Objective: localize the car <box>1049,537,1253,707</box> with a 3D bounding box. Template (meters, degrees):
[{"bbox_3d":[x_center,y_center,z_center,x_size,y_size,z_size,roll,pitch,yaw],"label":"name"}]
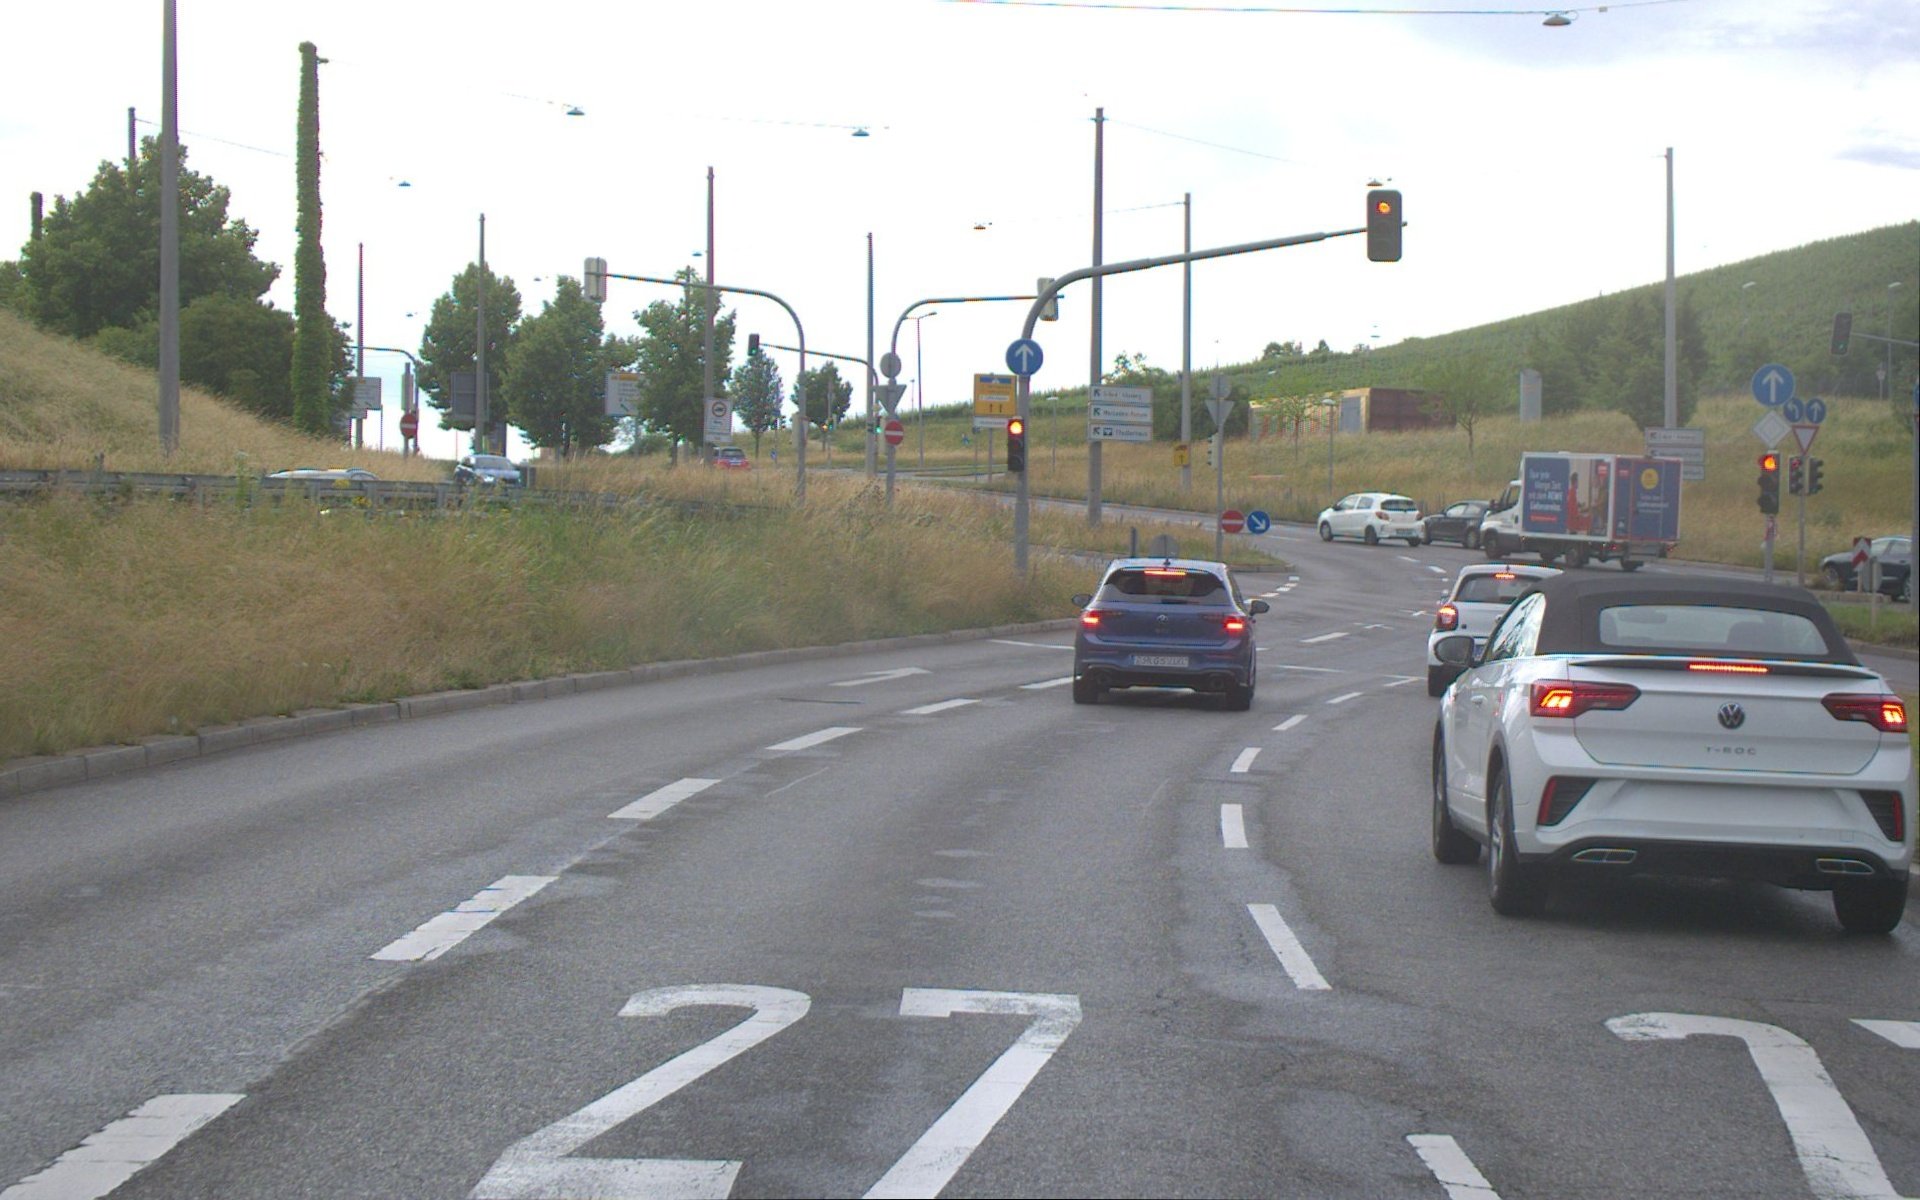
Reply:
[{"bbox_3d":[1.968,0.196,34.999,1.926,1.594,4.061,1,0,4],"label":"car"}]

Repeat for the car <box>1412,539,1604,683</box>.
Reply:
[{"bbox_3d":[6.463,0.098,40.265,1.776,1.514,3.722,3,2,15],"label":"car"}]

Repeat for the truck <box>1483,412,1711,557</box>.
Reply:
[{"bbox_3d":[16.619,-3.095,90.136,2.847,3.514,6.237,-1,5,-23],"label":"truck"}]

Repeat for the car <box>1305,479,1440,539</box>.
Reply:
[{"bbox_3d":[11.987,-2.674,100.220,1.993,1.495,4.565,-1,4,-21],"label":"car"}]

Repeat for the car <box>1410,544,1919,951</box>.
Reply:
[{"bbox_3d":[3.358,0.583,16.305,1.996,1.573,4.125,3,1,2],"label":"car"}]

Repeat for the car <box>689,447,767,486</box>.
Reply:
[{"bbox_3d":[-10.376,-5.953,153.477,1.993,1.706,4.564,-1,2,-24],"label":"car"}]

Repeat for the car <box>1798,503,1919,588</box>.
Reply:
[{"bbox_3d":[21.416,-1.223,77.763,1.994,1.705,4.563,-2,5,-35],"label":"car"}]
